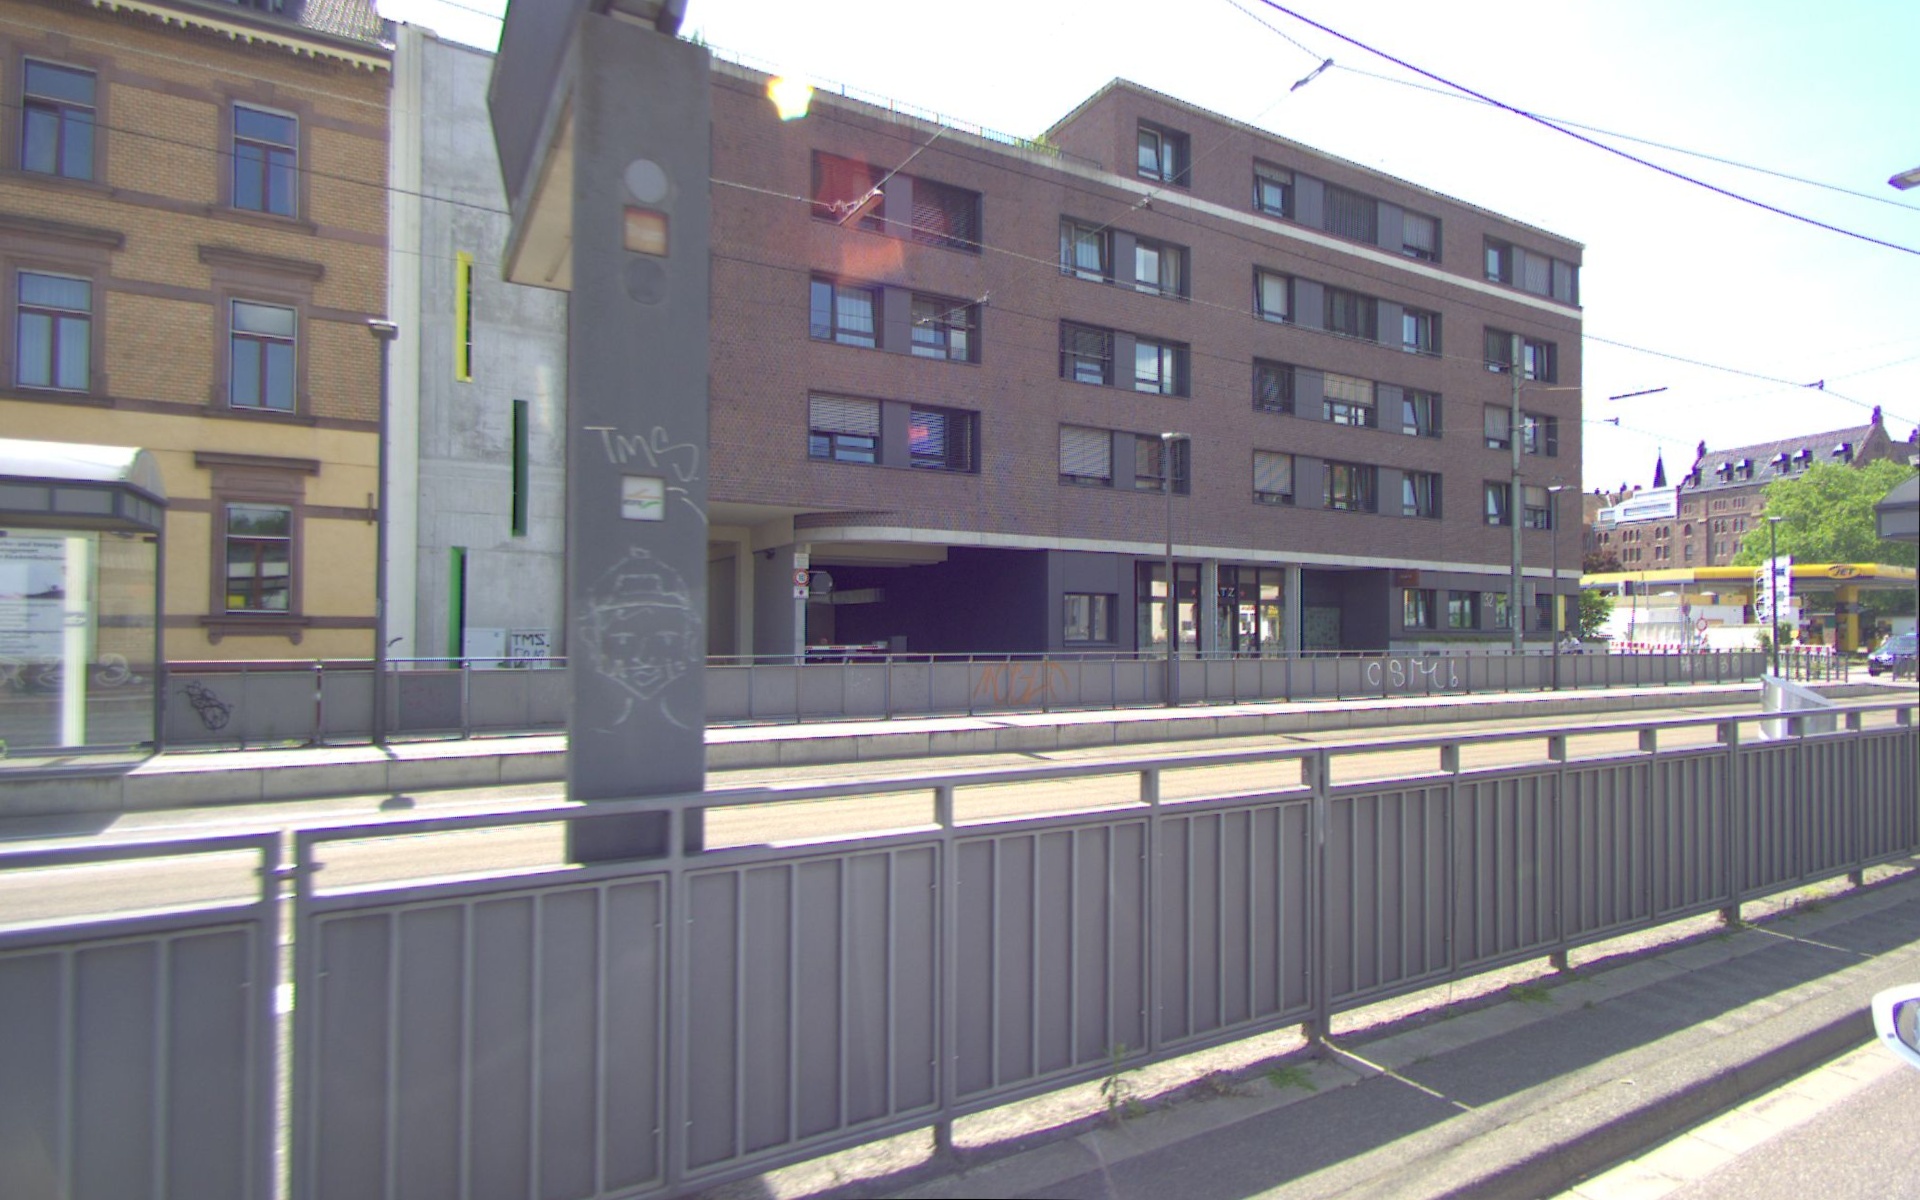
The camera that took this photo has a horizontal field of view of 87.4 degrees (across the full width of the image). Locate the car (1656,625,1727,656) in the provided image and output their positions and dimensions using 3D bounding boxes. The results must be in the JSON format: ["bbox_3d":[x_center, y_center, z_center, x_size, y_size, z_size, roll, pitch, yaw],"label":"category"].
[{"bbox_3d":[40.999,2.311,56.391,2.017,1.587,4.003,-2,-5,18],"label":"car"}]

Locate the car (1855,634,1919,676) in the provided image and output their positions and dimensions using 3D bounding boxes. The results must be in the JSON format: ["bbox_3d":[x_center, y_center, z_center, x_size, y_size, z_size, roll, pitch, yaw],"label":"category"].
[{"bbox_3d":[37.991,2.201,40.717,3.719,1.637,1.688,1,-2,-34],"label":"car"}]

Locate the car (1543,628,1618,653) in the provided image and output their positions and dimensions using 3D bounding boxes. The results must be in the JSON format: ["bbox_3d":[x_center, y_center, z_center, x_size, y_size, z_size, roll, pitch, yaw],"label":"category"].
[{"bbox_3d":[39.473,2.554,63.988,1.730,1.482,4.004,1,-1,-15],"label":"car"}]

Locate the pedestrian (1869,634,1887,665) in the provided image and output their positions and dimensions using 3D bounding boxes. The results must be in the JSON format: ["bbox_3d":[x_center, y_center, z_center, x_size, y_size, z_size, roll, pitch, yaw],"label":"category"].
[{"bbox_3d":[50.234,2.686,54.944,0.664,1.680,0.550,1,-1,-30],"label":"pedestrian"}]

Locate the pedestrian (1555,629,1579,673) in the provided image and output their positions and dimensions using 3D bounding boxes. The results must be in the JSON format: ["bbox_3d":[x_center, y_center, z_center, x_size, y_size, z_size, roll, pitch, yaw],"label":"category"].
[{"bbox_3d":[19.557,1.632,32.338,0.529,1.402,0.433,2,-4,-30],"label":"pedestrian"}]
